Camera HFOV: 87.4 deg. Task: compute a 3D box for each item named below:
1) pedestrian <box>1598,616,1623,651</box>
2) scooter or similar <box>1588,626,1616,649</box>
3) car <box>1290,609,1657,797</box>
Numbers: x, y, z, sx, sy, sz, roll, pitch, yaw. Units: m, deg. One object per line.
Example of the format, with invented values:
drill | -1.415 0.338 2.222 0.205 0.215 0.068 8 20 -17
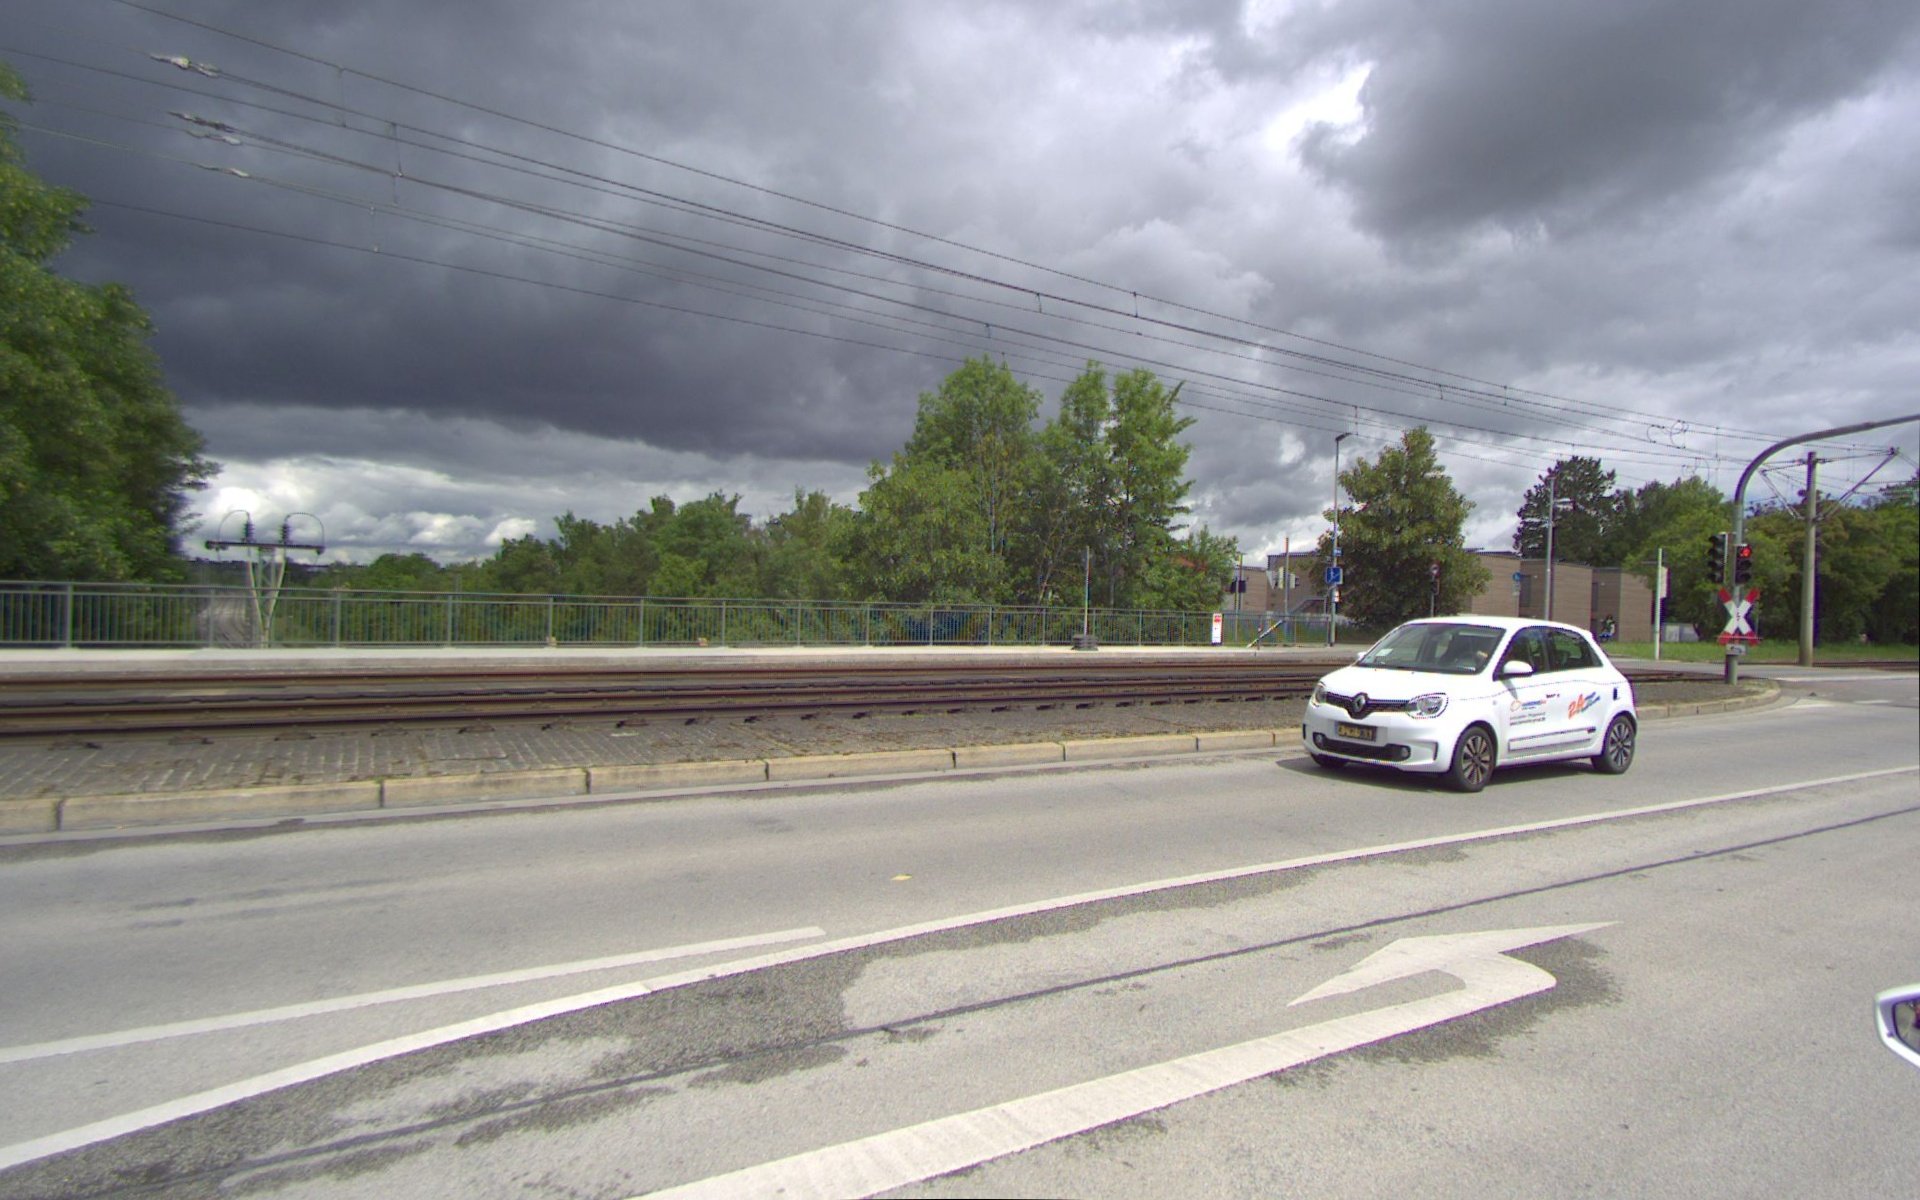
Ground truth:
pedestrian | 35.154 1.798 54.284 0.799 1.835 0.798 2 2 -29
scooter or similar | 34.445 2.010 53.912 0.961 1.200 0.886 2 2 -30
car | 5.173 0.925 10.019 3.614 1.547 1.585 2 0 -31
